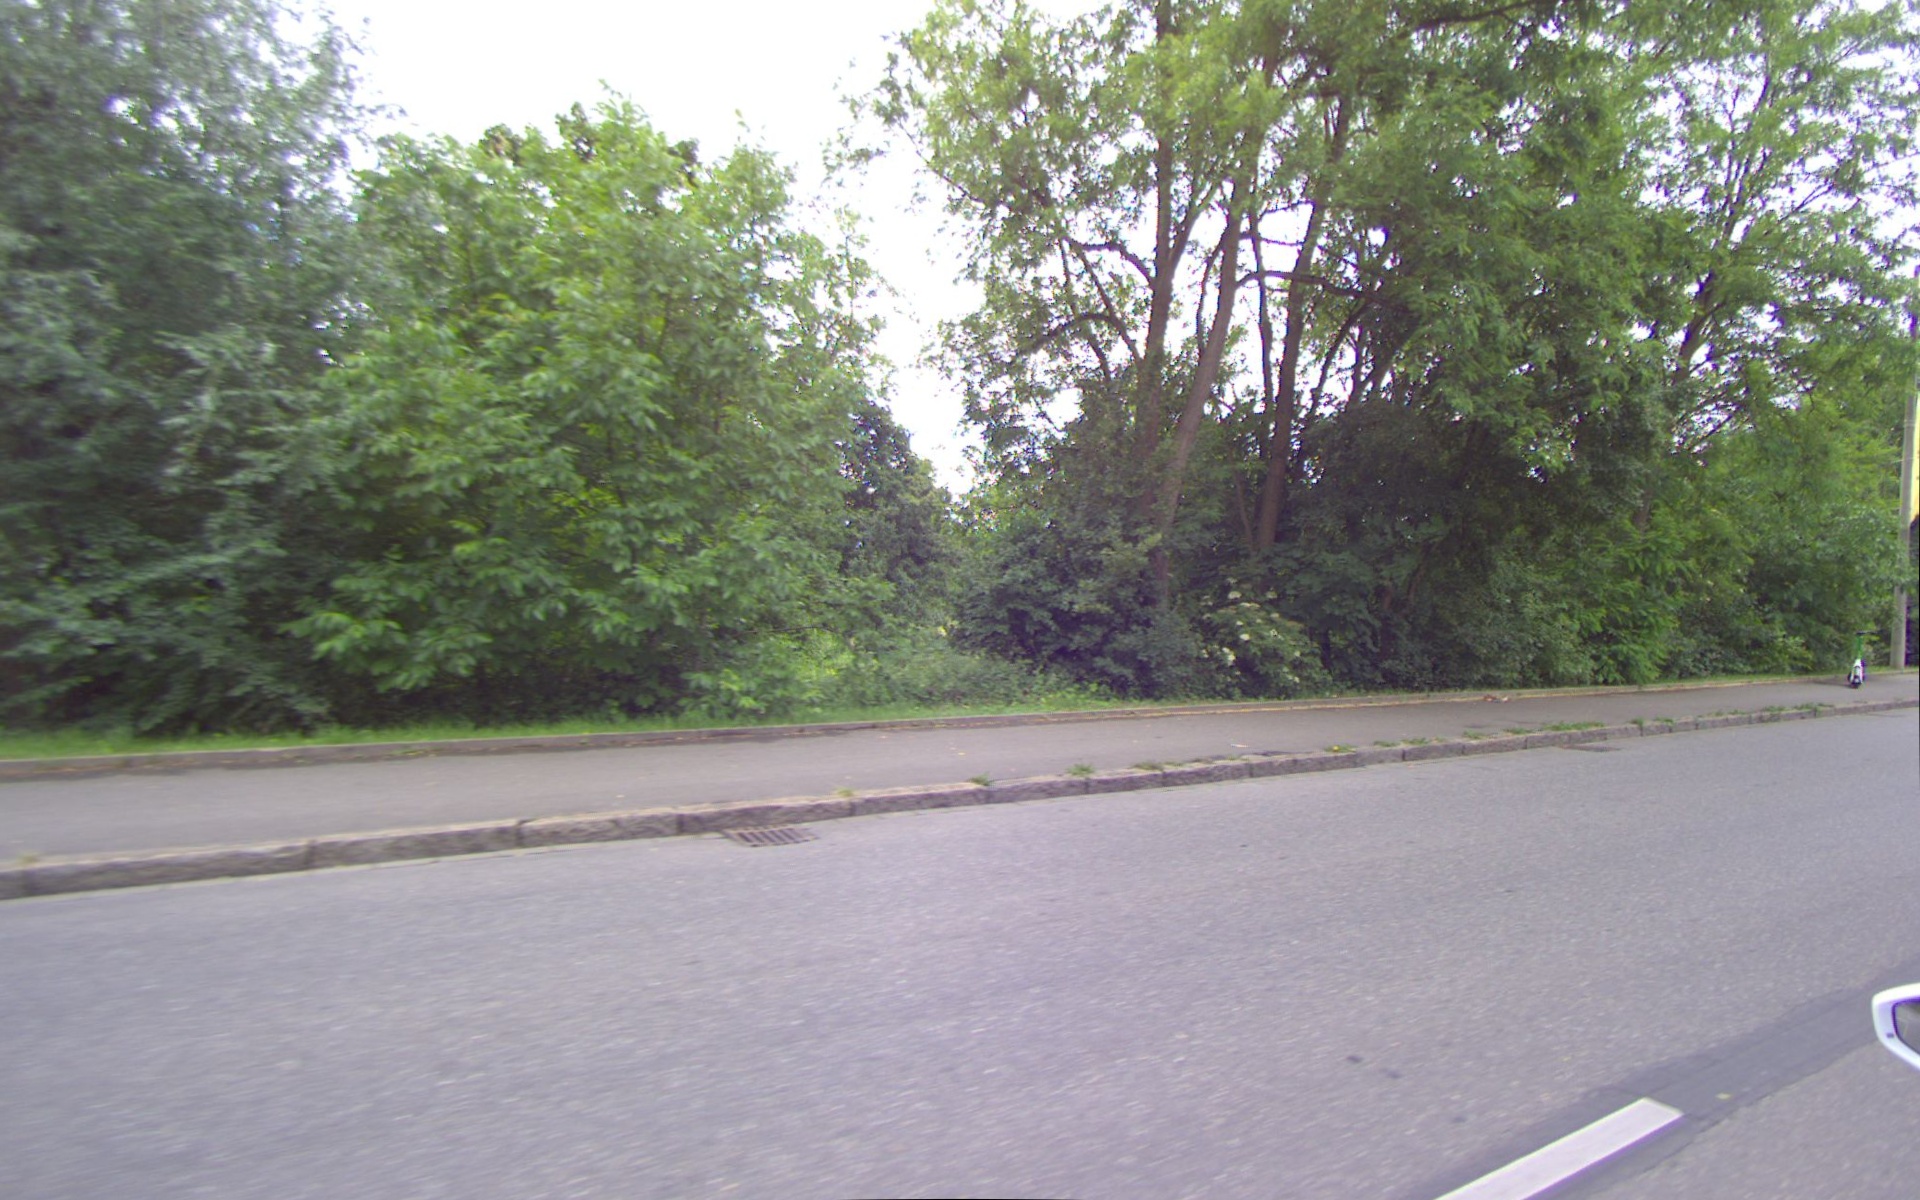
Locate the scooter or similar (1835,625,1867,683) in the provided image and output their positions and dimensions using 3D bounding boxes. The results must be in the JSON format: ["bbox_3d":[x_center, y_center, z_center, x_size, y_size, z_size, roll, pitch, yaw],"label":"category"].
[{"bbox_3d":[19.531,1.170,22.025,0.360,1.200,1.293,3,2,36],"label":"scooter or similar"}]
